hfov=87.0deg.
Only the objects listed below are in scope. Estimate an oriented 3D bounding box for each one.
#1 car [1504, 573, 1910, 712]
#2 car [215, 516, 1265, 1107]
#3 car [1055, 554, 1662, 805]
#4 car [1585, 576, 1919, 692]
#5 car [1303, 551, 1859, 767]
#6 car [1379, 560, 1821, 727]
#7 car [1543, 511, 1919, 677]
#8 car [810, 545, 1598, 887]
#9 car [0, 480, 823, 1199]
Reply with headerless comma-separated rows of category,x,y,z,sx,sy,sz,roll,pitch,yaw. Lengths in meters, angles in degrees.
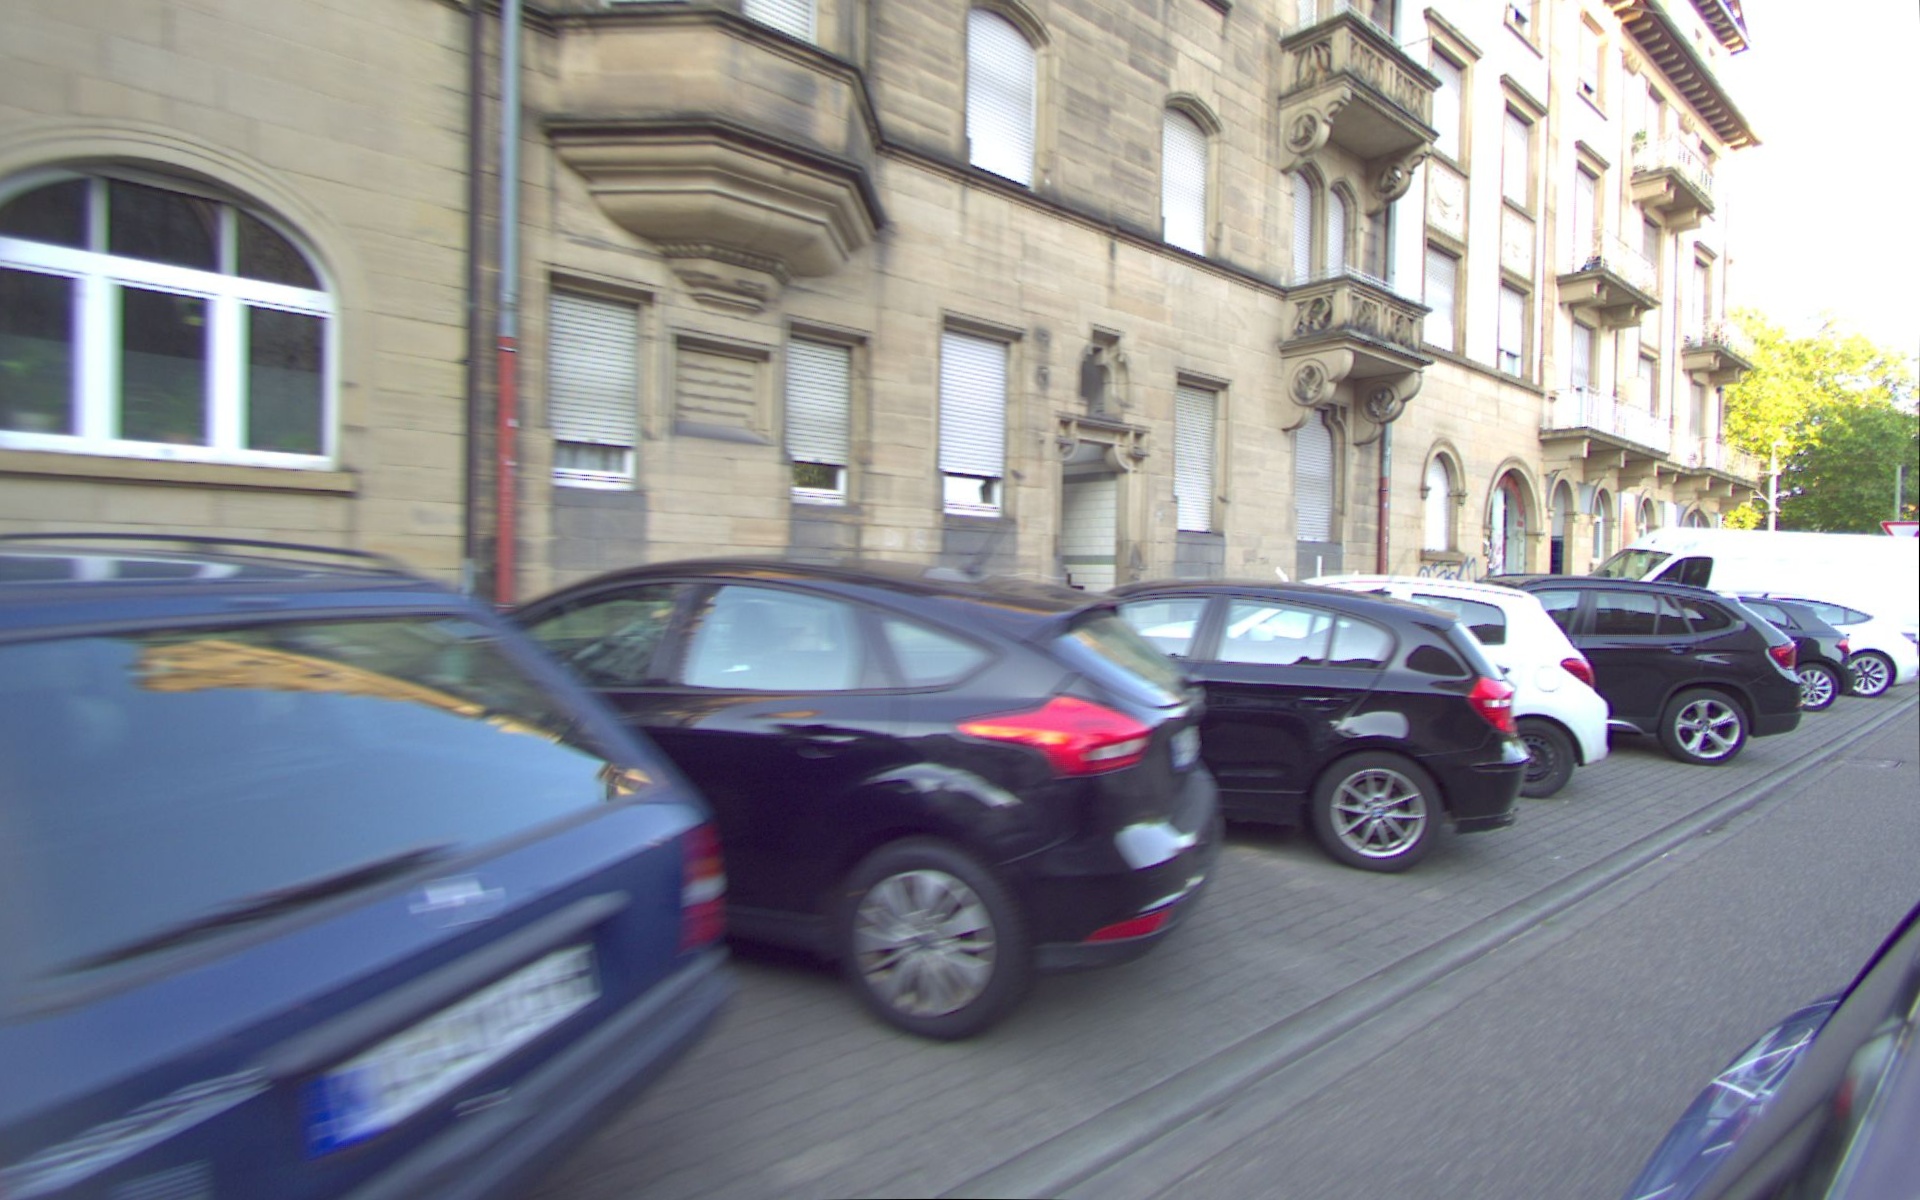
car,9.799,0.488,13.629,3.854,1.463,1.871,3,4,10
car,-0.912,0.457,4.312,4.074,1.564,1.783,2,4,22
car,2.897,0.470,8.094,3.999,1.516,1.747,3,3,15
car,12.305,0.463,15.450,4.189,1.471,1.994,2,3,12
car,5.550,0.426,9.652,4.036,1.627,1.811,3,3,12
car,7.155,0.415,11.730,3.852,1.563,1.714,3,4,9
car,13.878,-0.174,17.741,5.789,2.582,2.192,2,4,9
car,1.298,0.482,6.233,3.979,1.449,1.860,4,3,16
car,-2.697,0.486,2.344,4.344,1.504,1.832,4,3,20
